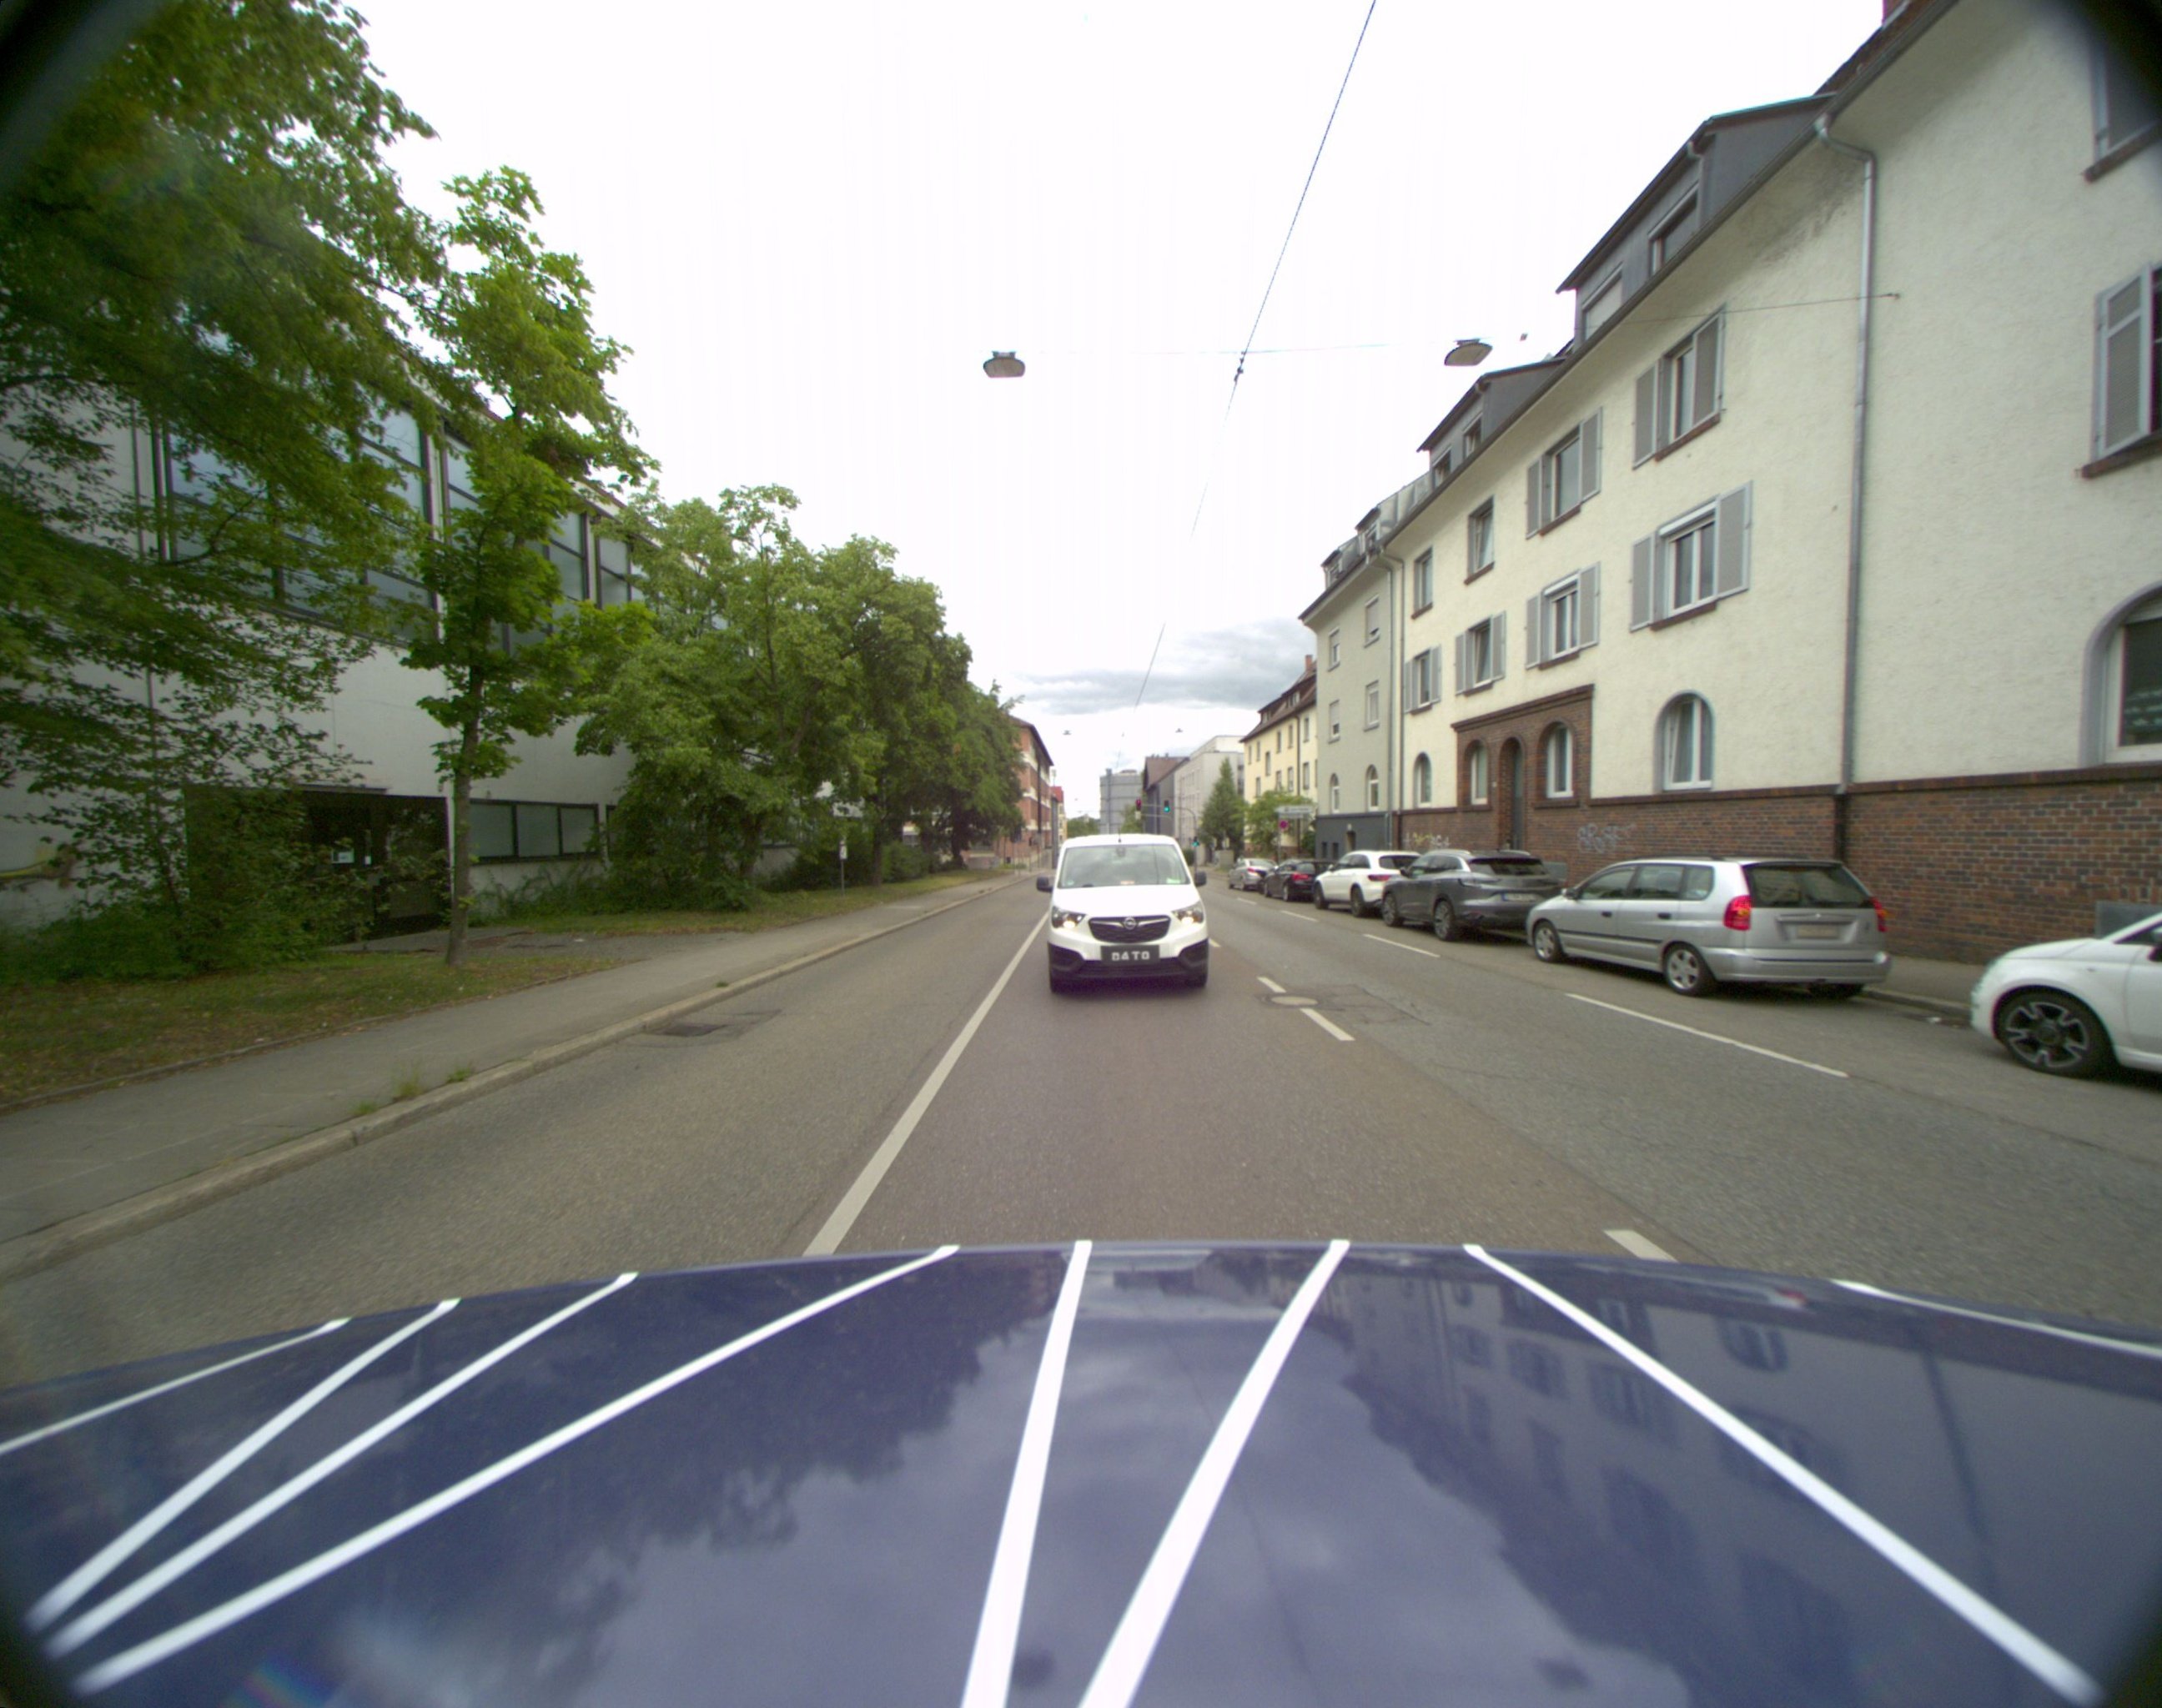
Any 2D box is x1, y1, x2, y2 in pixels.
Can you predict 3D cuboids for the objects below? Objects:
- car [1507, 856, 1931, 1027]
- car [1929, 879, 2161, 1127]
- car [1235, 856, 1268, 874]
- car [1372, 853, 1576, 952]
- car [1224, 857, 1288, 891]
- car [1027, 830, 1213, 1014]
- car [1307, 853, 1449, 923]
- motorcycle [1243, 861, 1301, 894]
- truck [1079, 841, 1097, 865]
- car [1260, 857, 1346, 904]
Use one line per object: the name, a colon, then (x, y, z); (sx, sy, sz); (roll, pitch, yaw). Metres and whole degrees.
car: (7.268, 0.848, 9.337); (1.731, 1.549, 4.081); (2, 1, 0)
car: (7.386, 0.941, 4.122); (1.551, 1.466, 3.603); (0, 0, 0)
car: (15.487, 1.001, 69.169); (1.819, 1.527, 4.260); (1, -1, -4)
car: (7.144, 0.773, 14.408); (1.731, 1.590, 4.502); (0, 0, 3)
car: (7.517, 0.811, 32.986); (1.731, 1.366, 4.337); (0, 0, -1)
car: (0.438, 0.732, 9.872); (1.850, 1.831, 4.284); (-1, -1, 1)
car: (7.488, 0.772, 19.702); (1.850, 1.612, 4.643); (0, 0, 0)
motorcycle: (7.483, 0.932, 29.726); (2.048, 1.228, 0.806); (2, 0, -17)
truck: (1.119, -0.144, 116.568); (2.545, 3.478, 8.521); (0, 0, 1)
car: (7.399, 0.841, 25.738); (1.731, 1.421, 4.191); (0, 0, 0)
